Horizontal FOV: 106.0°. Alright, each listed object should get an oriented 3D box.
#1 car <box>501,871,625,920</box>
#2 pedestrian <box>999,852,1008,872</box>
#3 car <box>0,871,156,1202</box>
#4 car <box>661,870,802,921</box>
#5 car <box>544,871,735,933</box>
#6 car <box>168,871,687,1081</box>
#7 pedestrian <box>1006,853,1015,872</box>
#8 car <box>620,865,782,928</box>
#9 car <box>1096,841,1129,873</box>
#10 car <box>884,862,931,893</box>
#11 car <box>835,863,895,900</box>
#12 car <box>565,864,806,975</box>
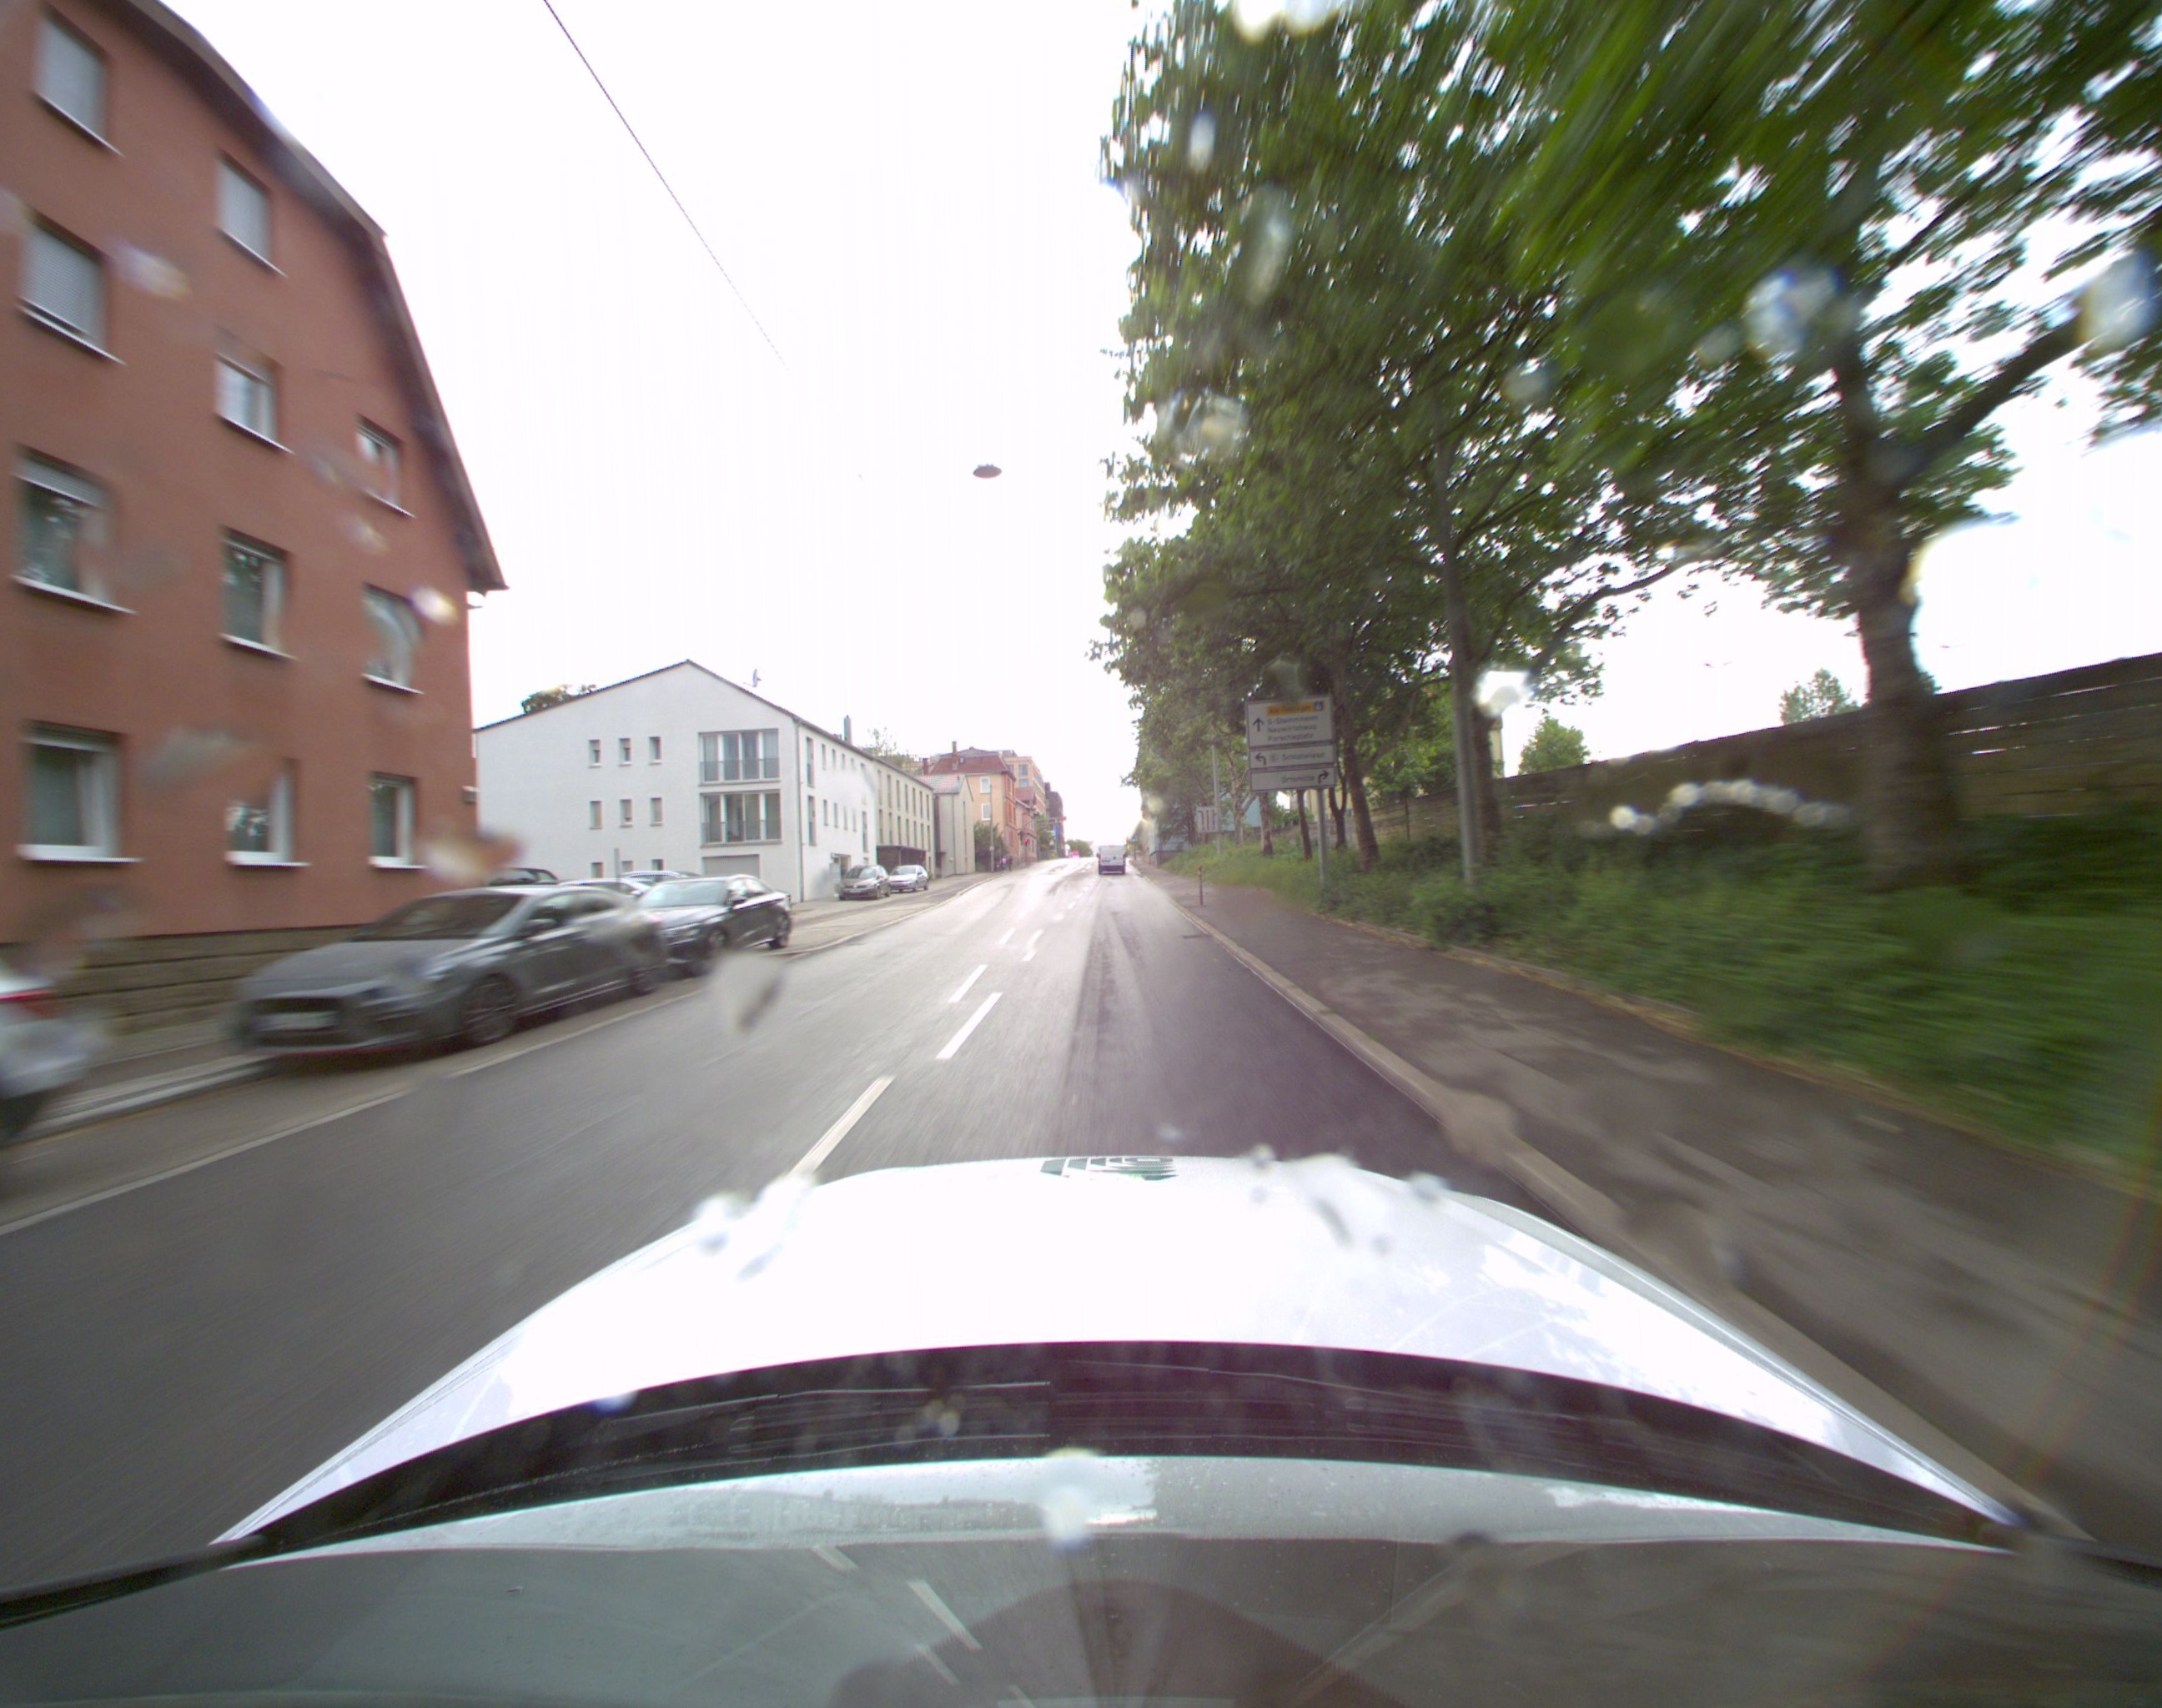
[{"bbox_3d":[-16.543,1.282,26.229,1.455,1.346,3.557,-3,0,4],"label":"car"},{"bbox_3d":[-8.092,0.806,84.716,0.668,2.013,0.943,-2,0,6],"label":"pedestrian"},{"bbox_3d":[-6.041,0.958,2.407,1.684,1.542,4.120,-5,0,2],"label":"car"},{"bbox_3d":[-12.192,1.430,28.588,3.968,1.472,2.003,-3,0,5],"label":"car"},{"bbox_3d":[-12.576,1.337,23.391,4.273,1.463,2.069,-3,0,2],"label":"car"},{"bbox_3d":[-6.180,1.002,8.562,1.737,1.482,4.388,-2,0,2],"label":"car"},{"bbox_3d":[-7.352,0.870,84.654,0.668,2.013,0.943,-2,0,6],"label":"pedestrian"},{"bbox_3d":[-12.058,1.326,26.013,4.130,1.698,2.003,-3,0,5],"label":"car"},{"bbox_3d":[2.408,0.282,61.879,2.326,2.231,4.002,-3,-2,2],"label":"car"},{"bbox_3d":[-9.622,1.287,45.369,1.662,1.530,4.095,-3,0,0],"label":"car"},{"bbox_3d":[-10.099,1.253,38.412,1.662,1.530,4.095,-3,0,0],"label":"car"},{"bbox_3d":[-6.097,0.918,13.210,1.628,1.482,4.361,0,-1,2],"label":"car"}]
